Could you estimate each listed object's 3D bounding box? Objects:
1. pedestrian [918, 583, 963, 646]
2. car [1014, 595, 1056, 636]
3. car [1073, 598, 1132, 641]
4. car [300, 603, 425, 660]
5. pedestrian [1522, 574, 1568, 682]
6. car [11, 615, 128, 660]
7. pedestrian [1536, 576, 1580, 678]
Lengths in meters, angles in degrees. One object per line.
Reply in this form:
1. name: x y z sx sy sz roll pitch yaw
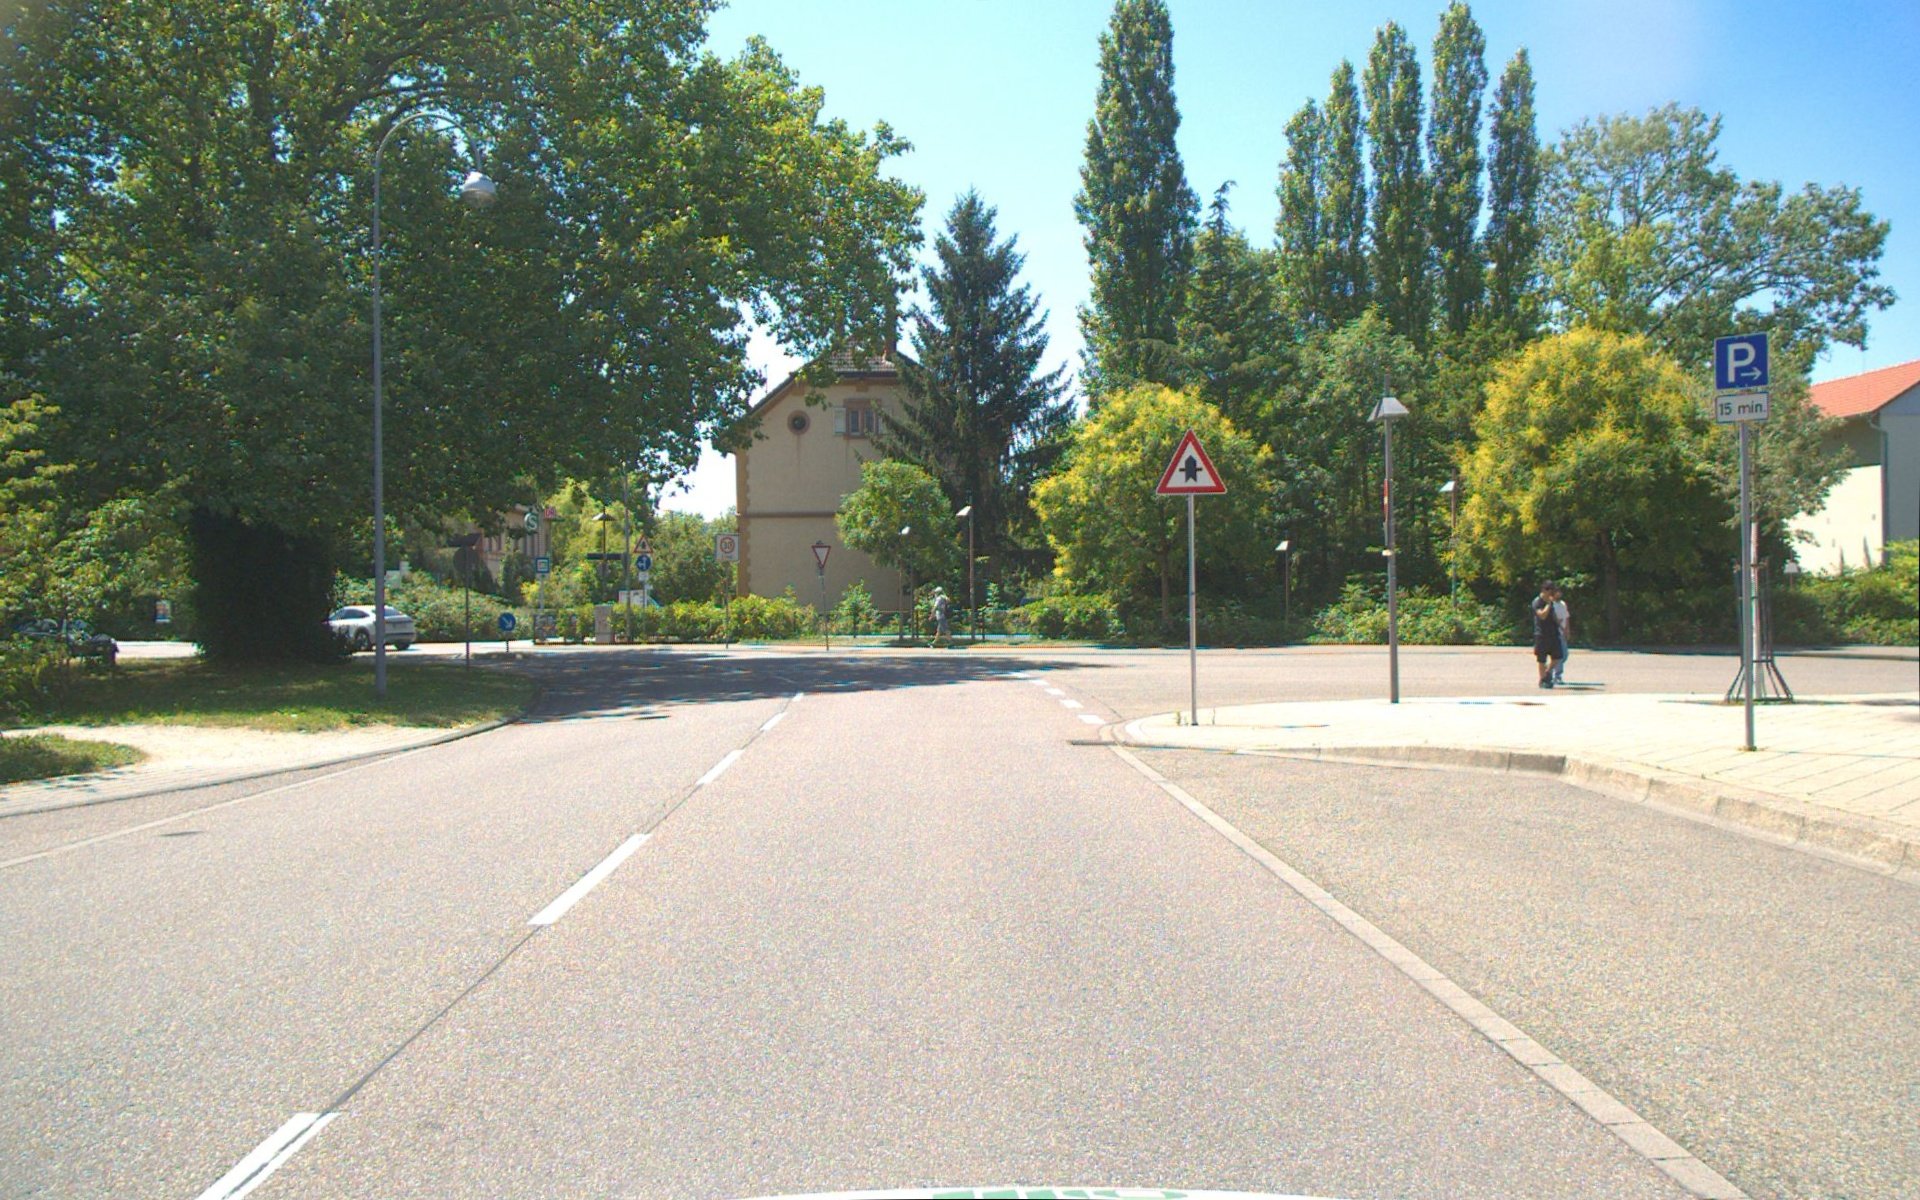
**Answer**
1. pedestrian: -0.574 0.439 49.287 0.907 1.802 0.901 -5 2 -41
2. car: 3.011 0.592 65.987 1.615 1.563 3.971 -1 0 3
3. car: 5.273 0.706 61.476 1.728 1.526 4.499 -1 0 -1
4. car: -22.131 1.187 61.265 4.374 1.643 1.938 -4 -11 31
5. pedestrian: 9.963 0.473 28.199 0.678 1.816 0.915 -1 0 17
6. car: -31.980 1.360 59.377 3.907 1.442 1.645 -2 1 24
7. pedestrian: 10.550 0.463 29.187 0.659 1.766 0.915 -1 0 17
